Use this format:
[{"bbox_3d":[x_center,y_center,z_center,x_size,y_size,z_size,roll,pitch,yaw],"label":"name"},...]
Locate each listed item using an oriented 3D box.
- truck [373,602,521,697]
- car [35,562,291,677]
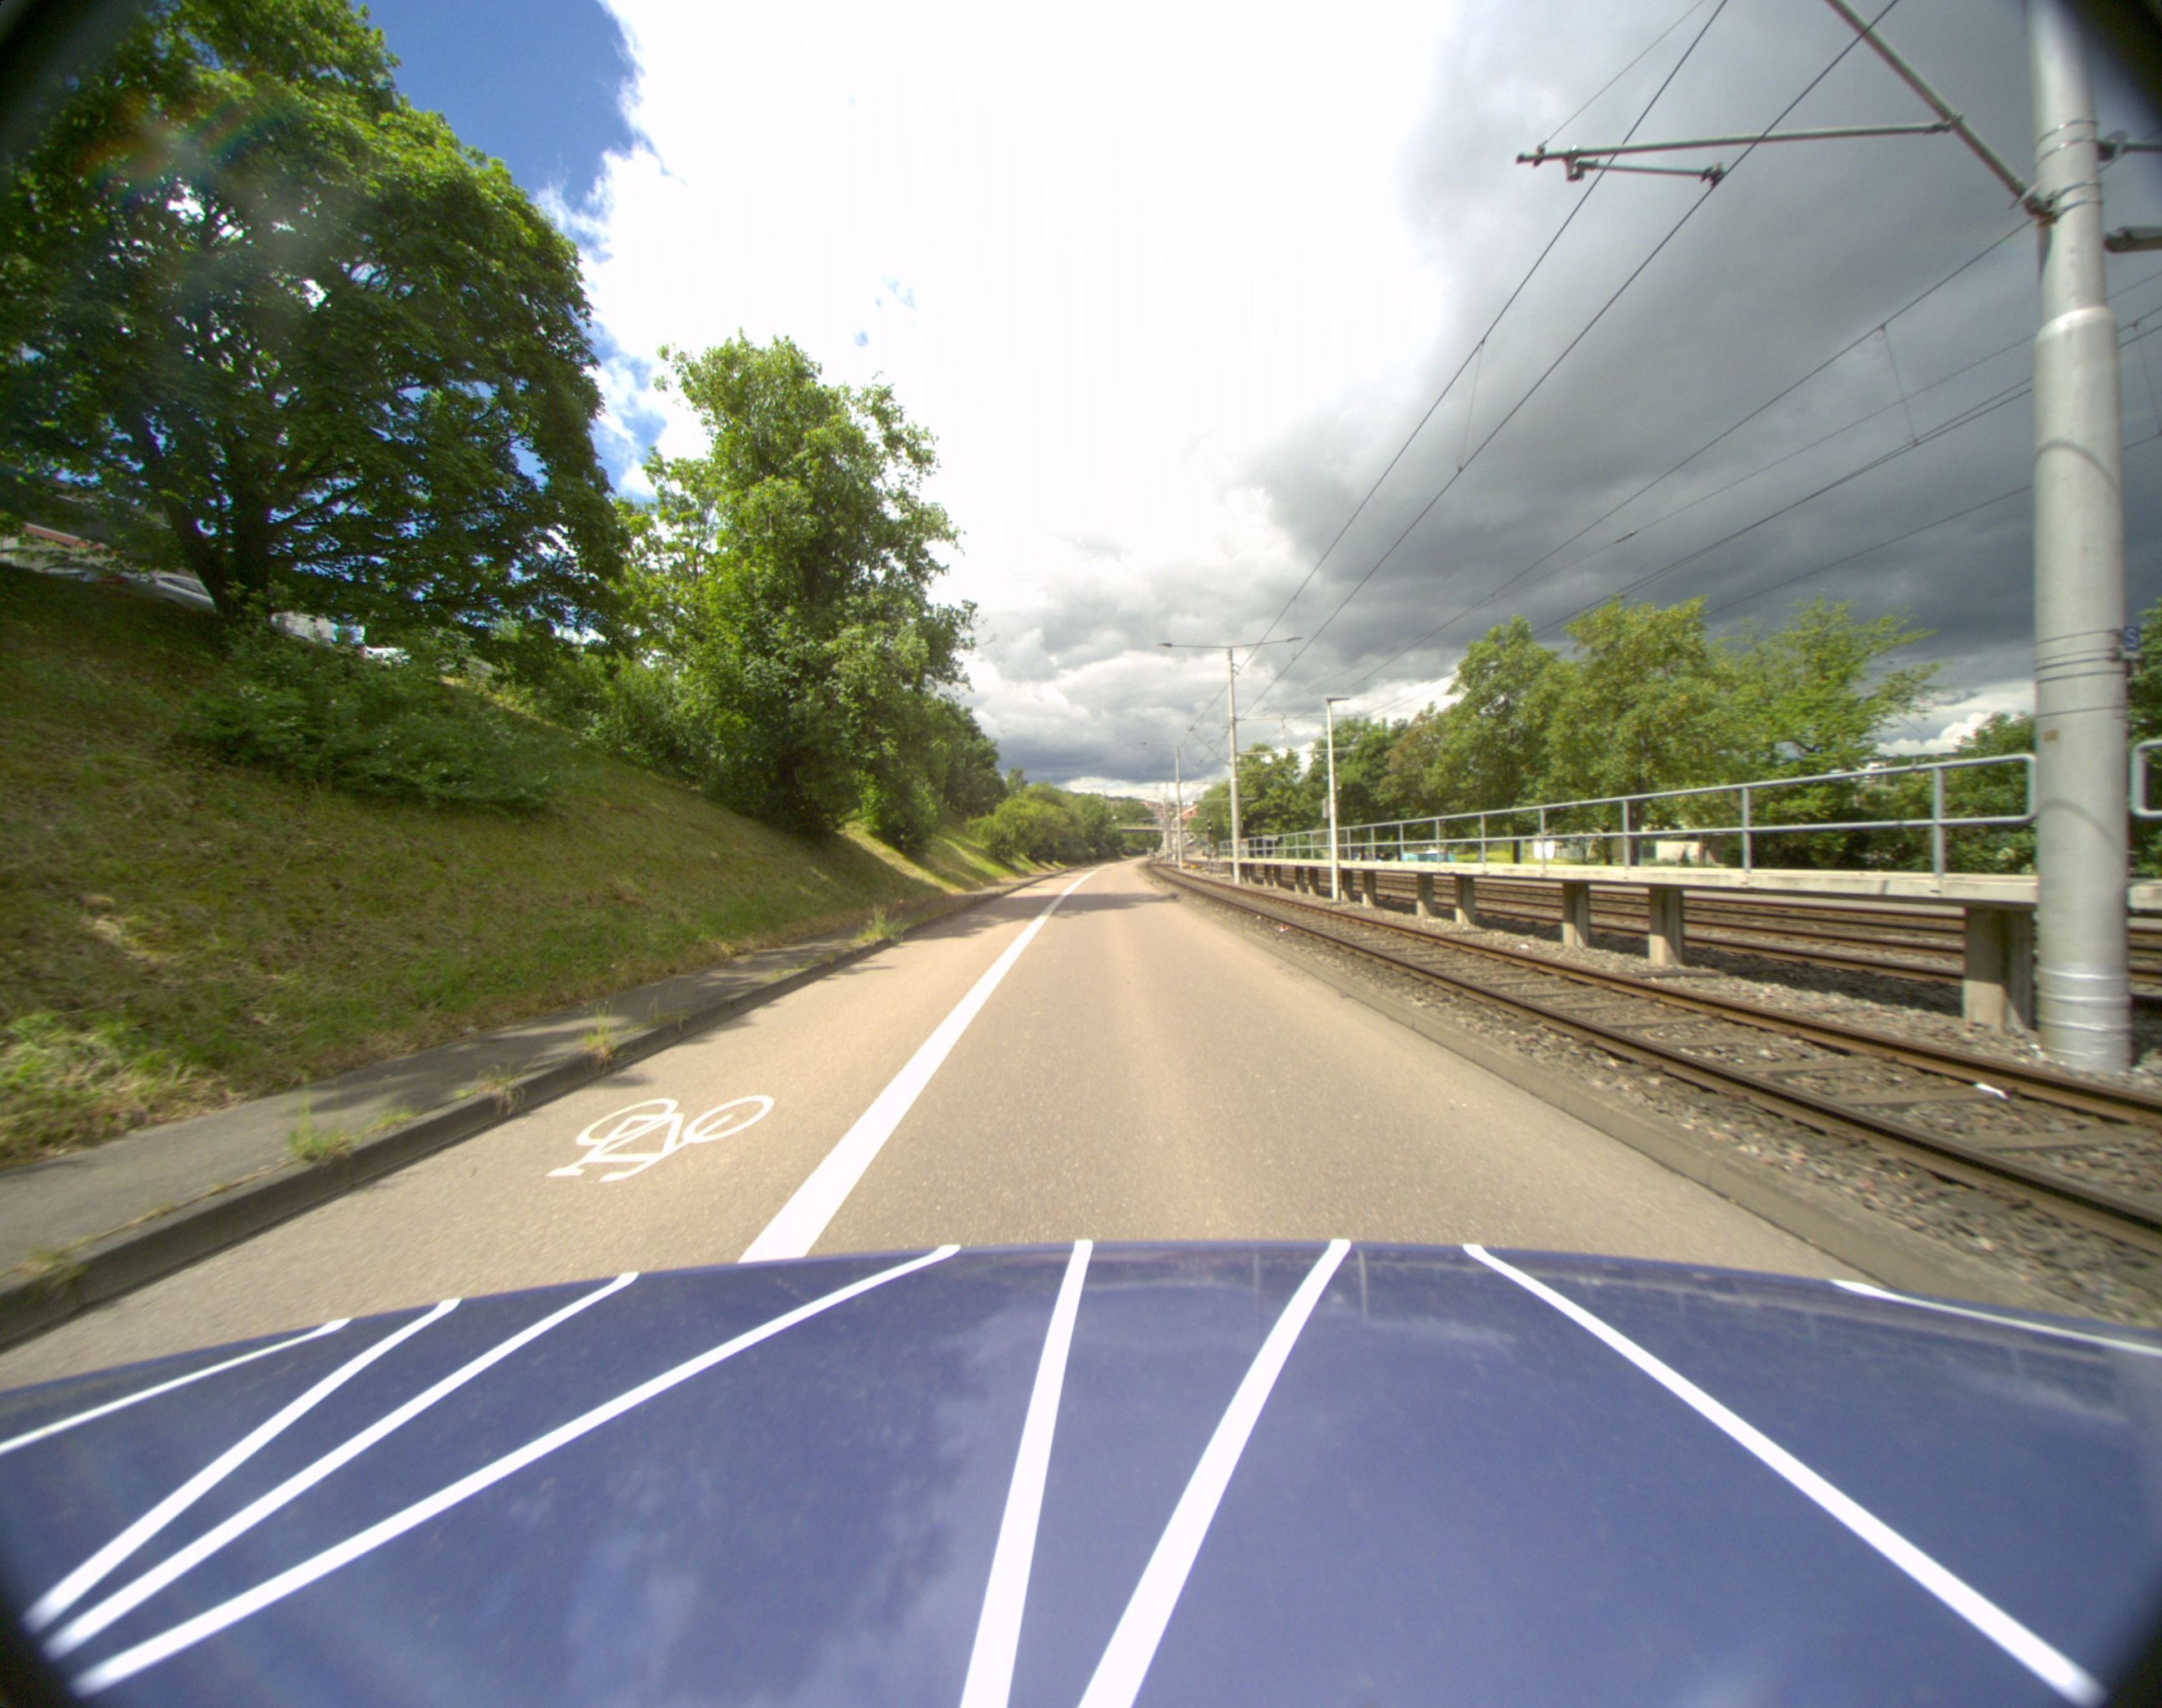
[{"bbox_3d":[-19.904,-6.351,24.078,1.388,1.930,3.966,-2,1,-2],"label":"truck"},{"bbox_3d":[-19.708,-4.979,16.550,1.453,1.434,3.333,-2,1,1],"label":"car"}]
